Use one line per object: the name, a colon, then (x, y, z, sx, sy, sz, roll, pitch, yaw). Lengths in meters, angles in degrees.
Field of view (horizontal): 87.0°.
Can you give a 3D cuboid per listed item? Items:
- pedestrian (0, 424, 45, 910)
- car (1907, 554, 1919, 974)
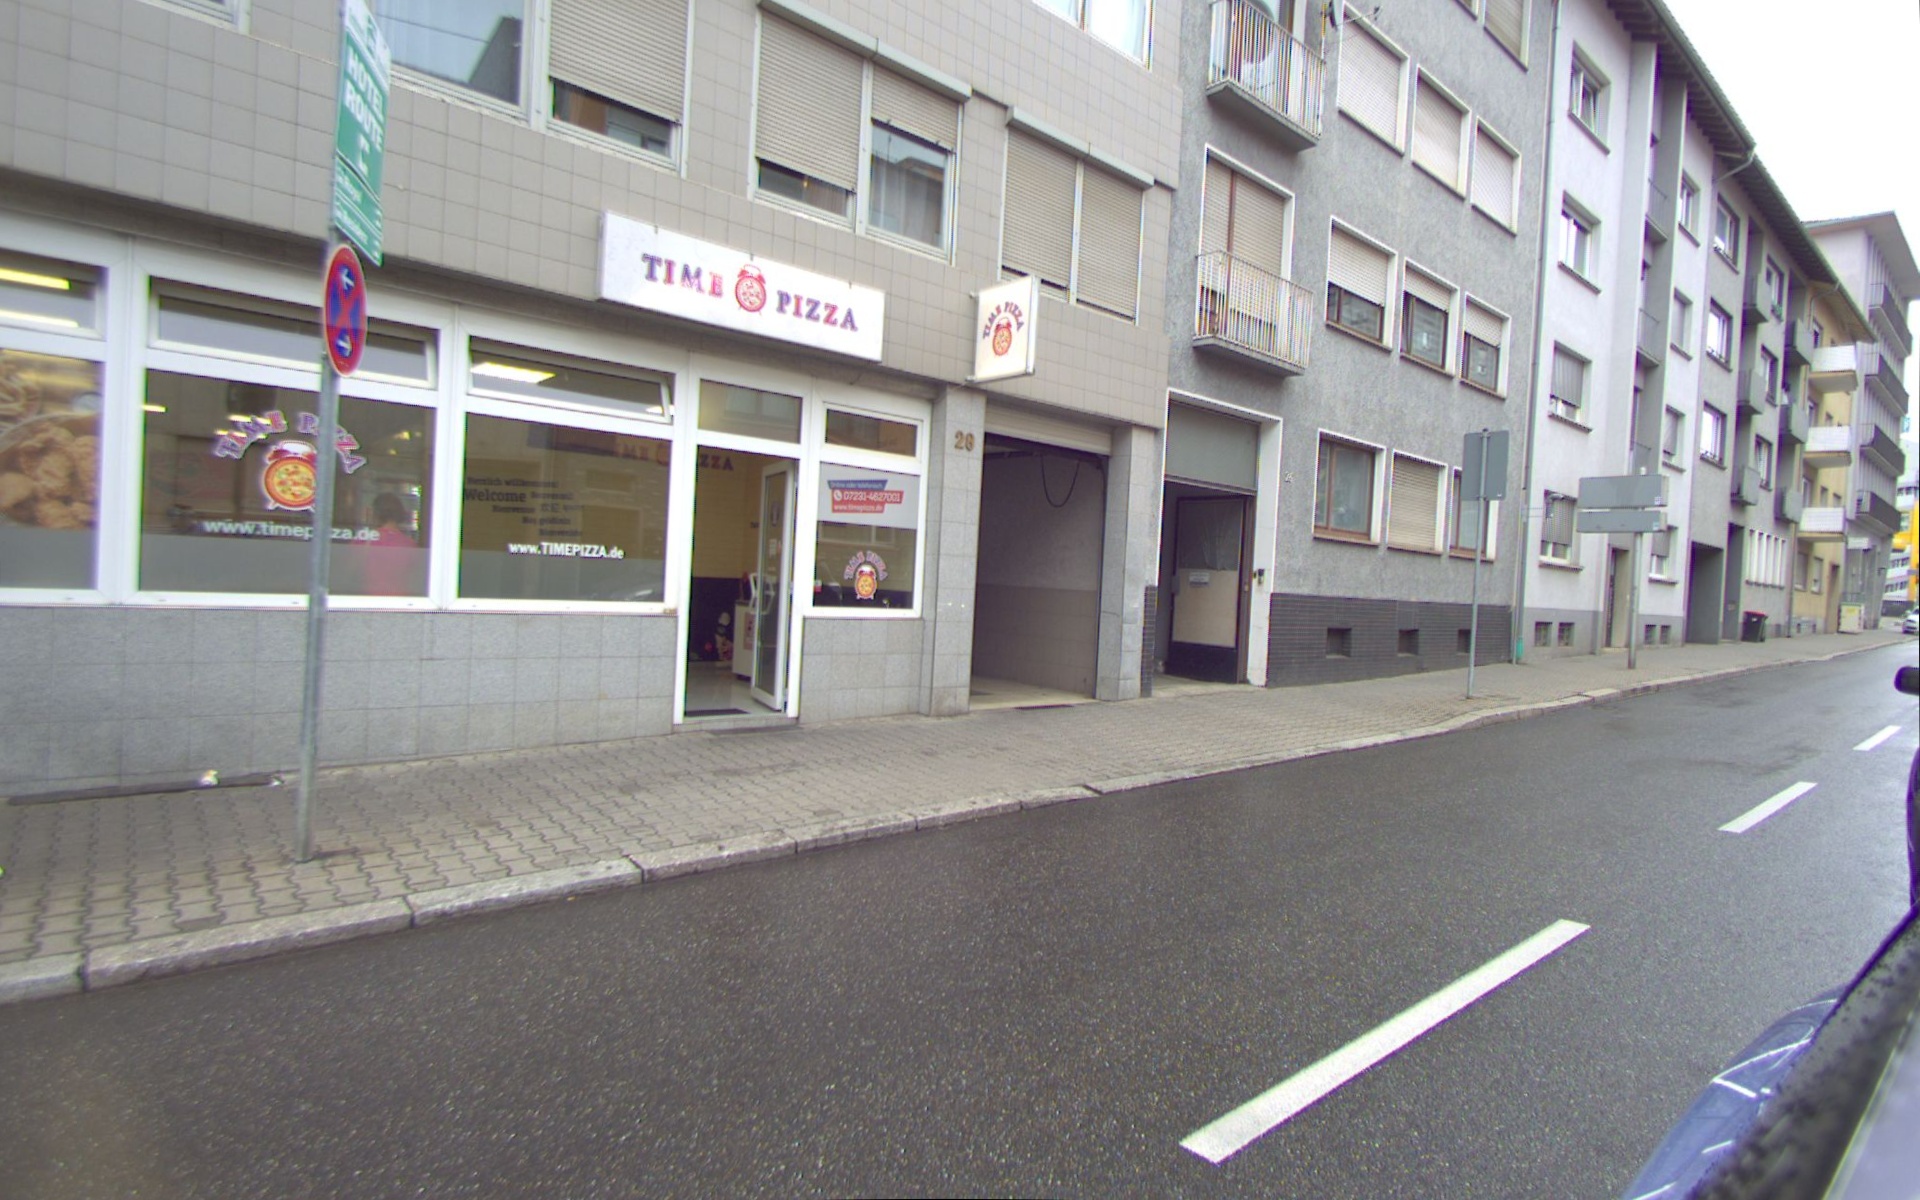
pedestrian: (-4.313, 0.226, 3.919, 1.100, 1.887, 0.871, 0, 7, -41)
car: (6.071, 0.662, 4.937, 4.144, 1.743, 1.697, -1, 0, -41)
